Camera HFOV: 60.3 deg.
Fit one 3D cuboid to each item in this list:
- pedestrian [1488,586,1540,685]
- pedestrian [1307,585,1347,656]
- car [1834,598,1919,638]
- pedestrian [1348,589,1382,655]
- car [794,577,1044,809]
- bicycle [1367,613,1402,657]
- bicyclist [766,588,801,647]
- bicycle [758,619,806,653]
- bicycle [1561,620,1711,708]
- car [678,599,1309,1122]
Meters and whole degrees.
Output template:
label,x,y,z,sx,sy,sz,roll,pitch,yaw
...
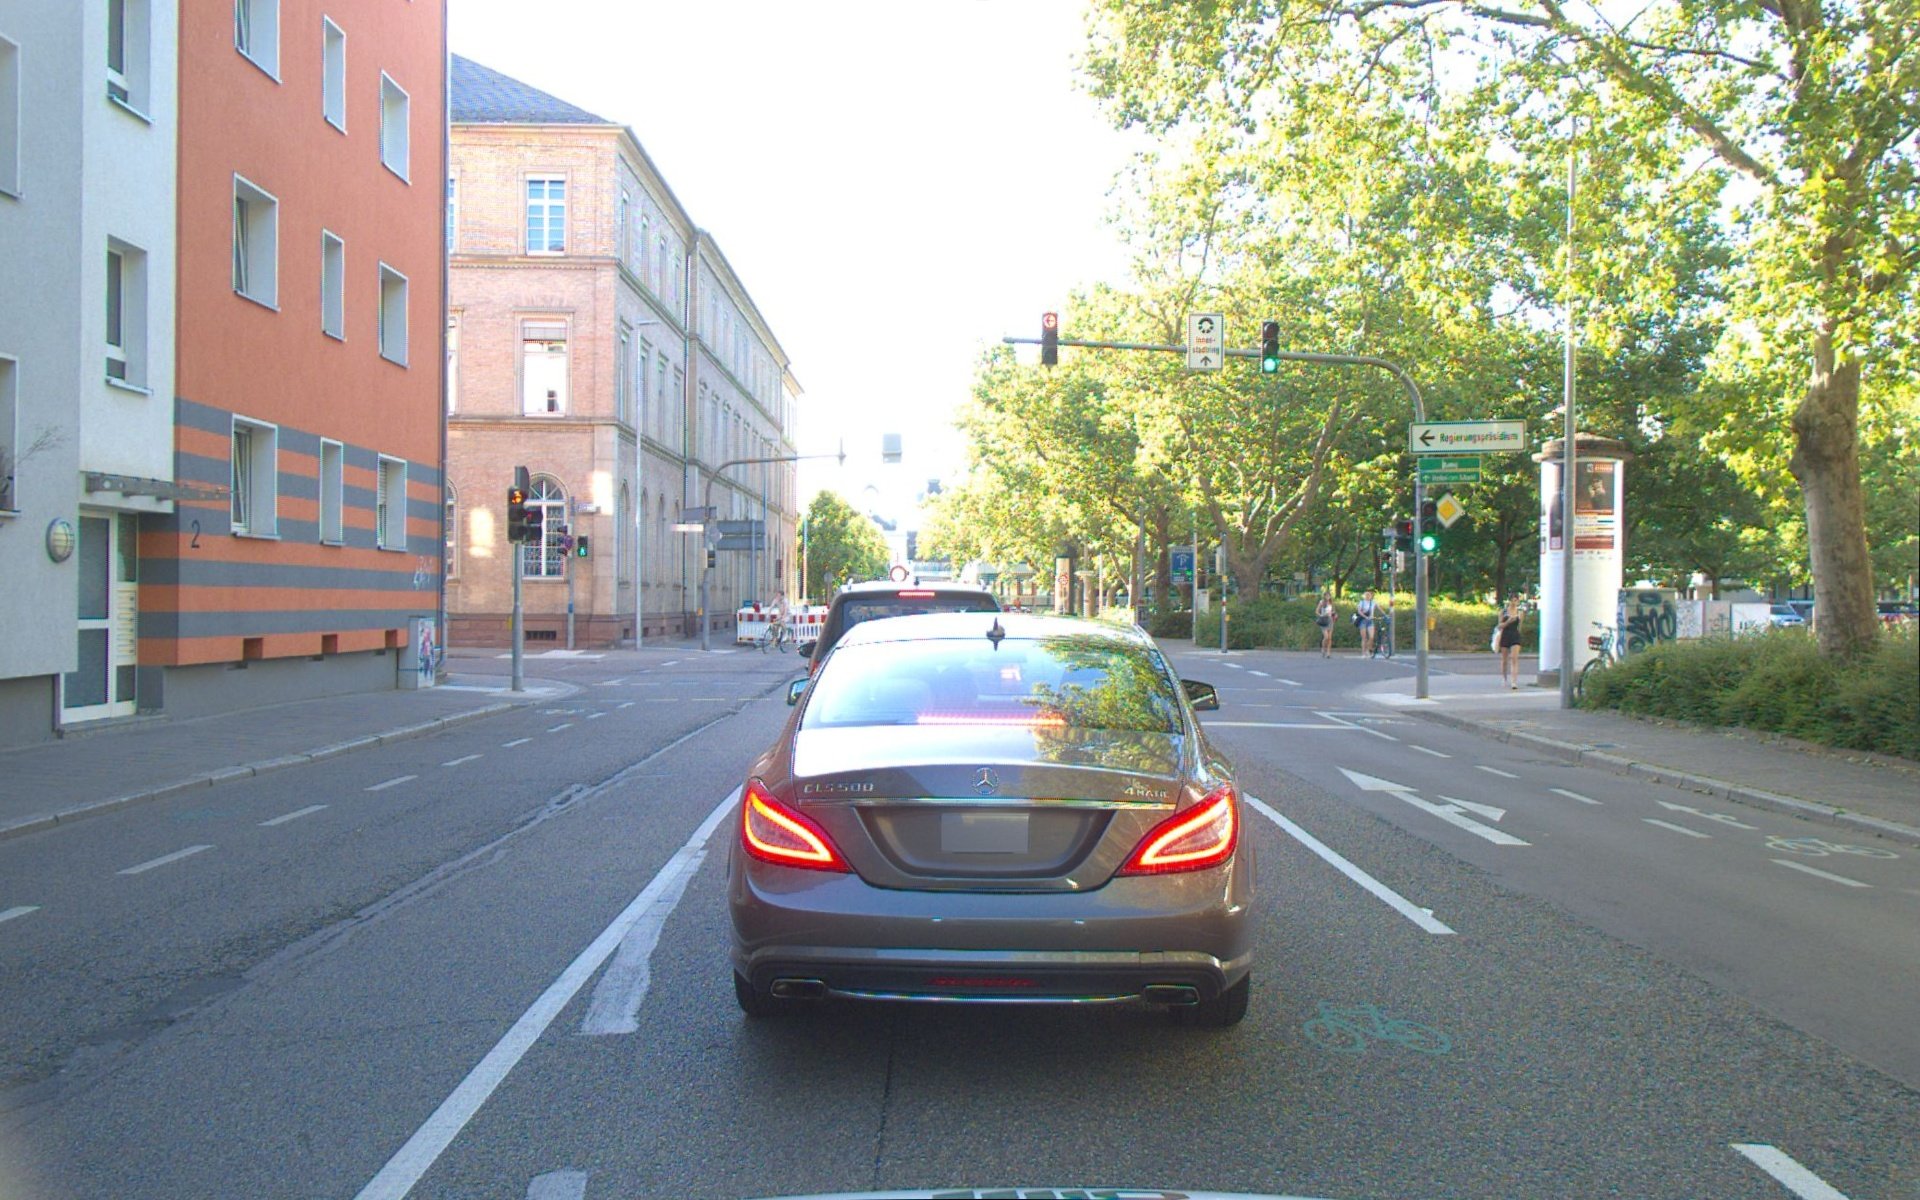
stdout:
label,x,y,z,sx,sy,sz,roll,pitch,yaw
pedestrian,9.508,0.614,28.413,0.781,1.659,0.908,-1,-1,16
pedestrian,9.707,0.539,43.764,0.718,1.840,0.907,0,-1,-9
car,36.266,0.694,65.147,1.596,1.508,3.794,1,0,-2
pedestrian,10.679,0.579,43.641,0.669,1.727,0.971,1,0,2
car,-0.265,0.666,13.718,1.772,1.641,4.000,0,0,1
bicycle,11.169,0.906,43.532,0.513,1.119,1.742,1,0,2
bicyclist,-4.848,0.481,45.463,0.635,1.586,0.807,1,-1,20
bicycle,-4.875,0.967,45.407,0.537,0.906,1.868,1,0,20
bicycle,9.698,0.909,23.758,1.936,1.210,0.528,1,-1,-2
car,0.278,0.753,7.030,1.804,1.454,4.520,1,0,5
